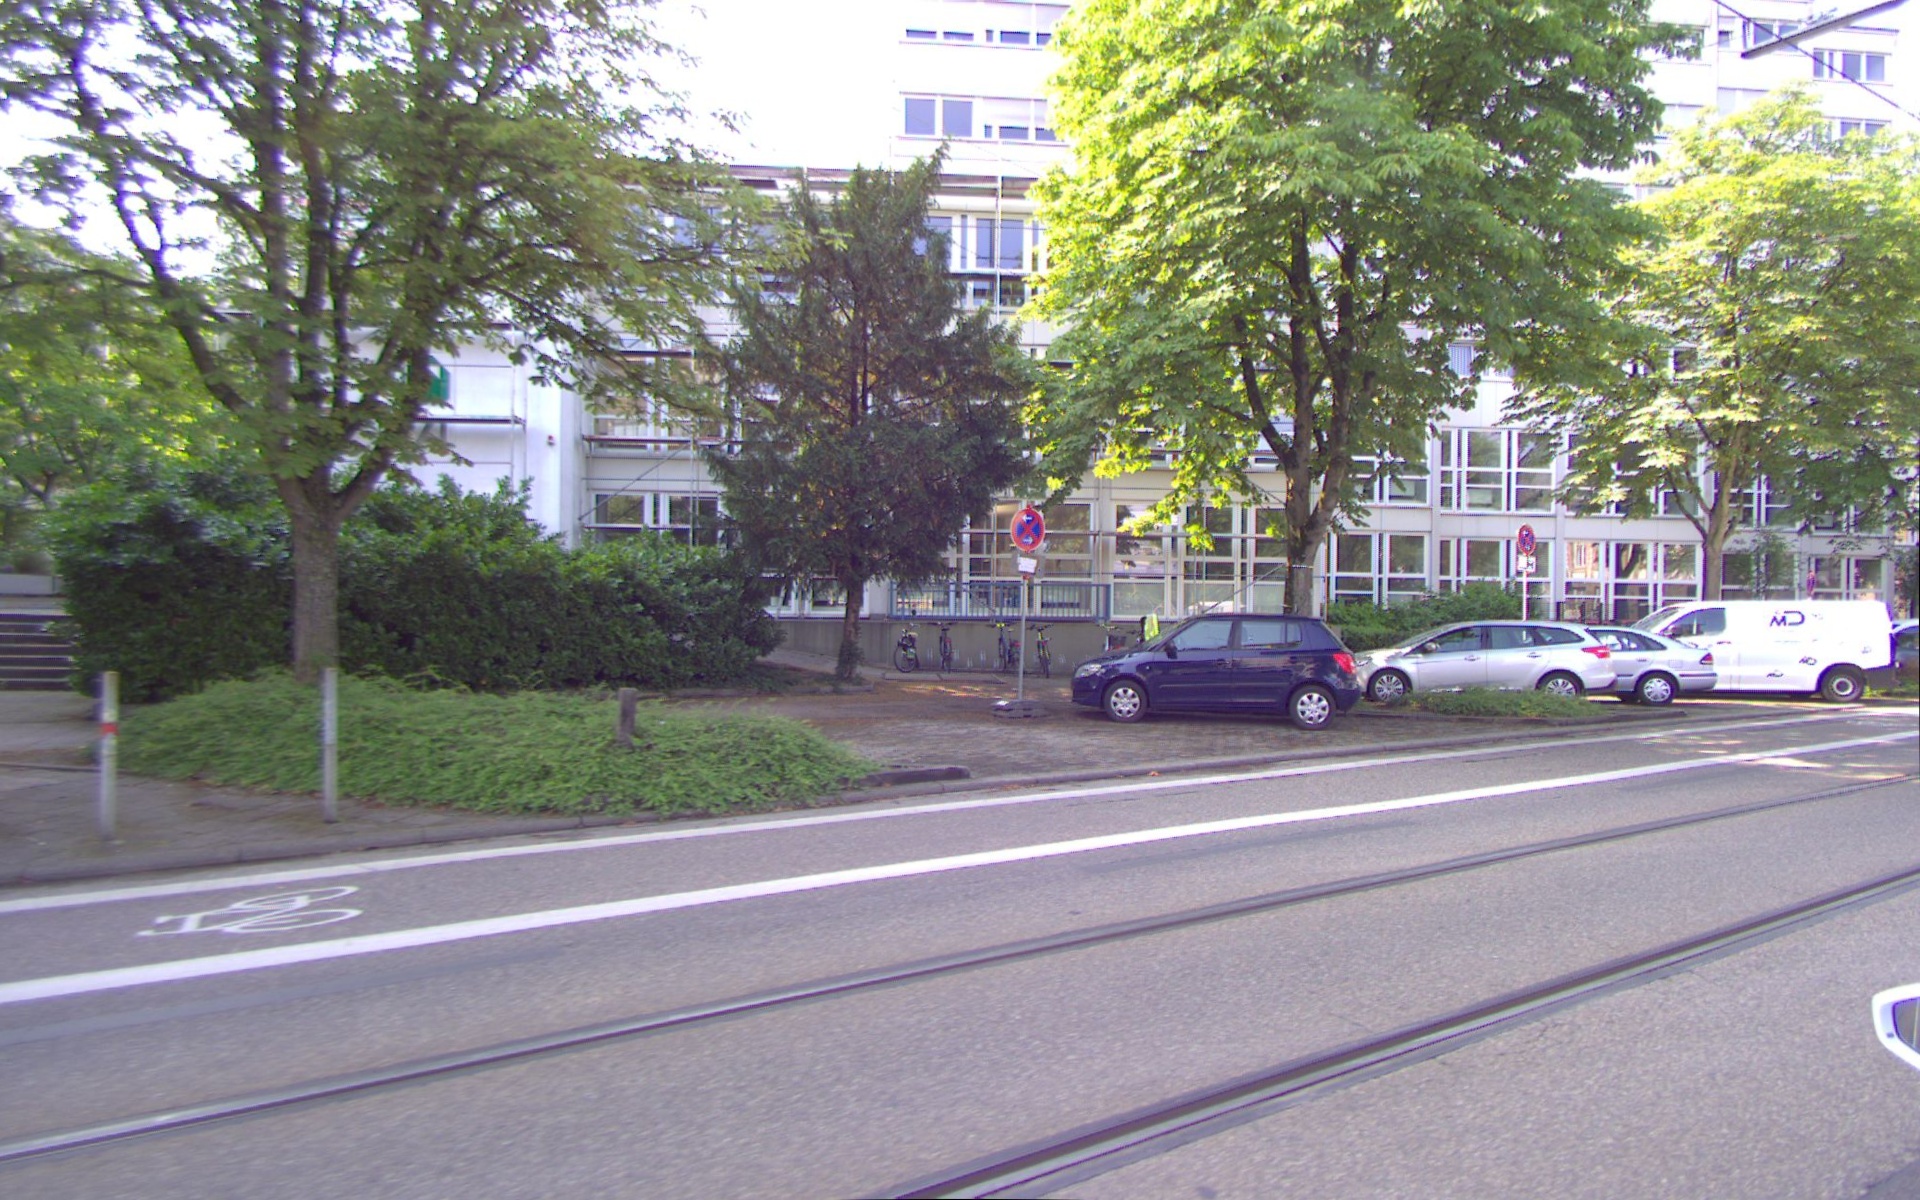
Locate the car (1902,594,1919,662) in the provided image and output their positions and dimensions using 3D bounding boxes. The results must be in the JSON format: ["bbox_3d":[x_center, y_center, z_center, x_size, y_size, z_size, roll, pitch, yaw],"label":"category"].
[{"bbox_3d":[31.816,1.040,30.498,4.120,2.109,1.884,4,3,14],"label":"car"}]

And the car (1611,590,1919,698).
[{"bbox_3d":[15.929,0.900,20.010,4.551,1.937,1.933,-2,-2,19],"label":"car"}]

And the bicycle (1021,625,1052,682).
[{"bbox_3d":[1.626,1.123,21.605,0.487,1.101,2.056,2,0,0],"label":"bicycle"}]

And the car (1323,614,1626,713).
[{"bbox_3d":[8.753,1.042,17.490,4.371,1.445,1.741,2,0,13],"label":"car"}]

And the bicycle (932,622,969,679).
[{"bbox_3d":[-0.226,1.051,21.406,0.488,1.101,2.053,2,0,-9],"label":"bicycle"}]

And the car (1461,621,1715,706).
[{"bbox_3d":[11.700,1.180,18.991,3.708,1.495,1.726,-1,-2,17],"label":"car"}]

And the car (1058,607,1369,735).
[{"bbox_3d":[3.501,0.905,14.037,3.920,1.482,1.760,2,0,18],"label":"car"}]

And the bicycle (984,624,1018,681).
[{"bbox_3d":[0.870,1.108,21.689,0.487,1.101,2.055,2,0,-4],"label":"bicycle"}]

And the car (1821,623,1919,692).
[{"bbox_3d":[22.387,1.343,23.054,3.563,1.520,1.764,2,-1,12],"label":"car"}]

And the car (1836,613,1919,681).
[{"bbox_3d":[26.350,1.280,27.046,3.683,1.735,1.884,2,0,14],"label":"car"}]

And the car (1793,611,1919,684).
[{"bbox_3d":[23.830,1.207,25.453,3.683,1.735,1.884,2,0,14],"label":"car"}]
